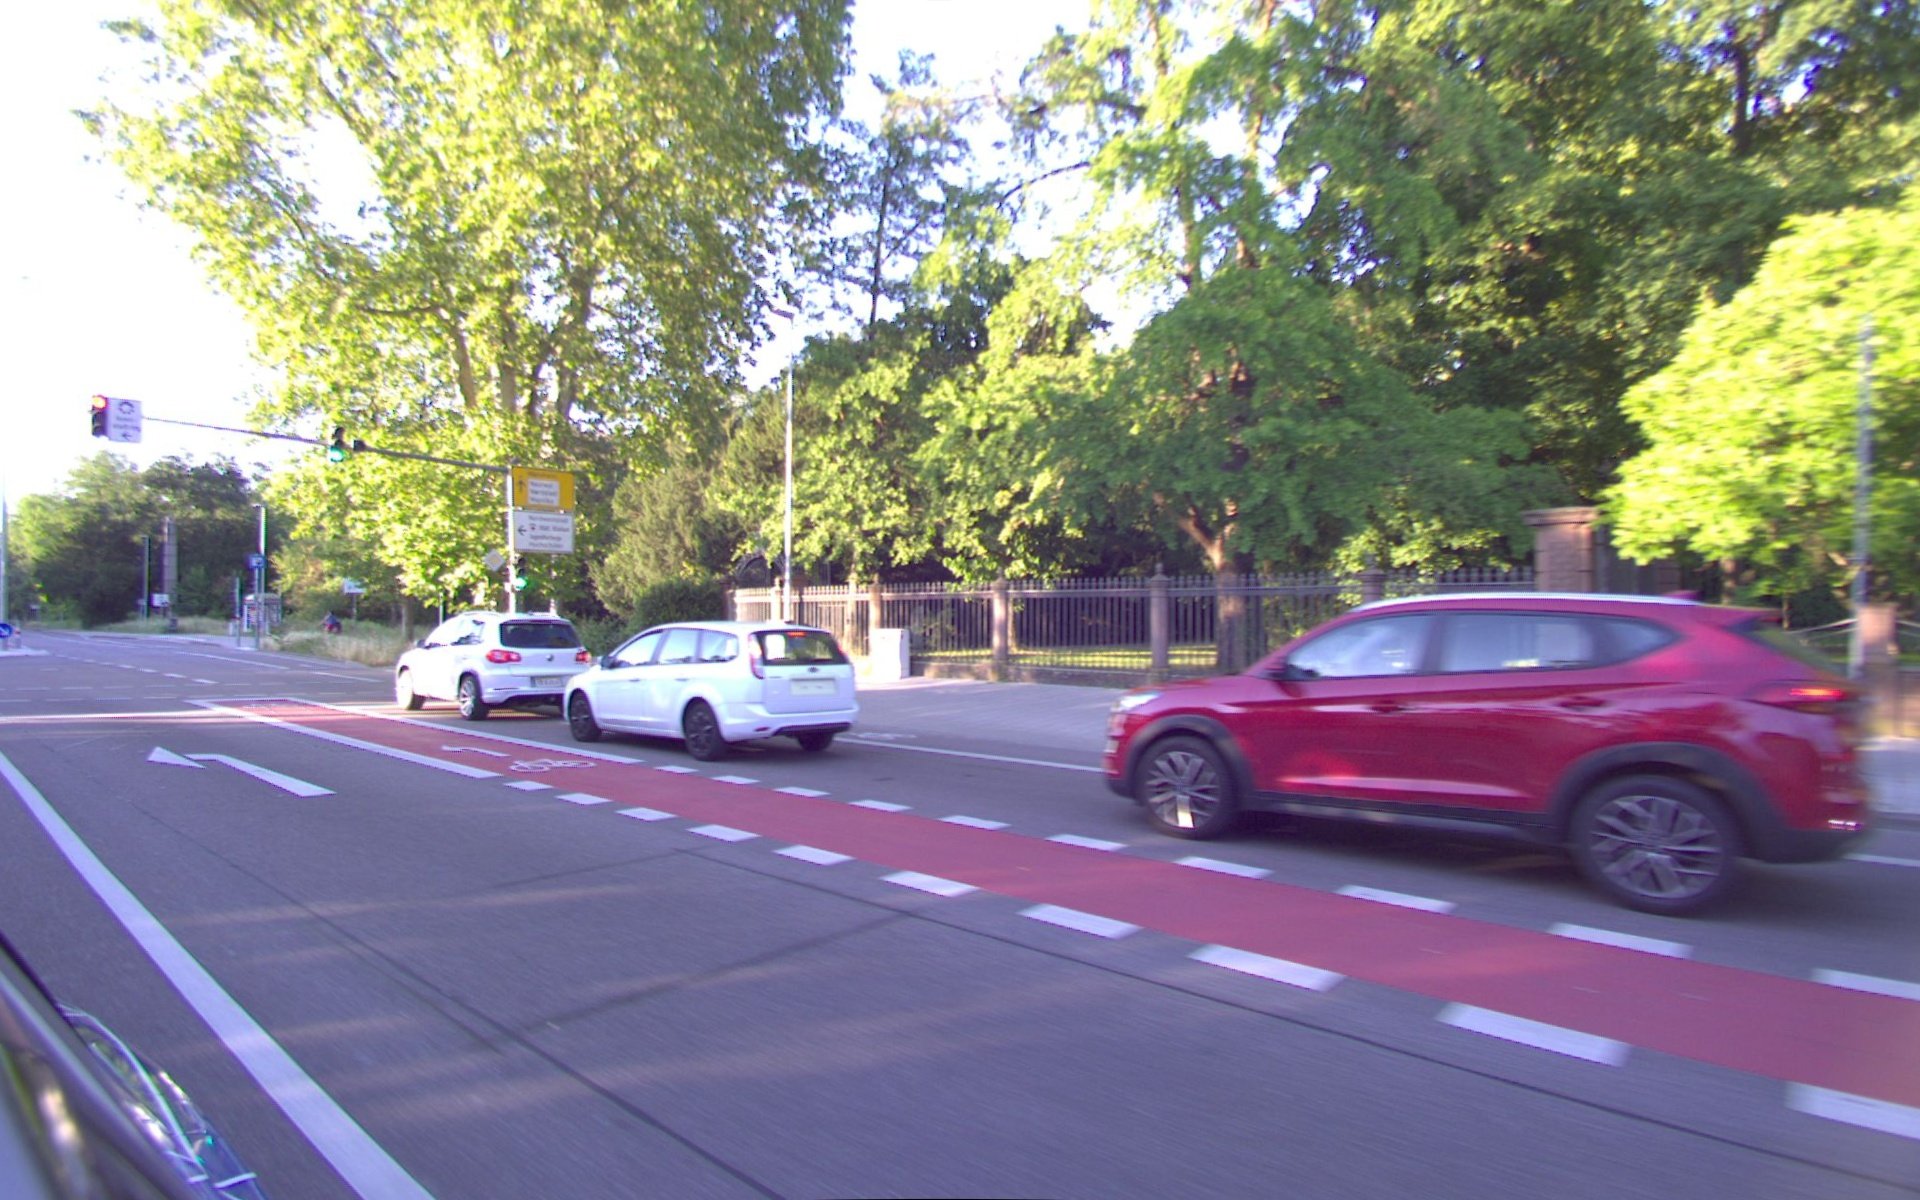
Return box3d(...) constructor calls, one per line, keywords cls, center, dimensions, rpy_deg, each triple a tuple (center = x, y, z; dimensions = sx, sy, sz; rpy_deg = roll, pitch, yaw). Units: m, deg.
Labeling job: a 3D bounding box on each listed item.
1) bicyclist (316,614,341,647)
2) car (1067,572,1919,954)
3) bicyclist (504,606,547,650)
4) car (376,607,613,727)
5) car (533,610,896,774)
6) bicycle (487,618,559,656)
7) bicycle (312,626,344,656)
box3d(cls="bicyclist", center=(-27.963, 1.363, 44.807), dimensions=(0.892, 1.438, 0.780), rpy_deg=(-1, -1, 45))
box3d(cls="car", center=(3.130, 0.769, 6.514), dimensions=(4.637, 1.637, 1.896), rpy_deg=(-1, -3, 42))
box3d(cls="bicyclist", center=(-15.712, 1.016, 36.613), dimensions=(0.933, 1.441, 0.855), rpy_deg=(9, 0, 9))
box3d(cls="car", center=(-7.751, 1.031, 16.667), dimensions=(4.425, 1.708, 1.896), rpy_deg=(-1, -3, 41))
box3d(cls="car", center=(-3.088, 0.965, 12.137), dimensions=(4.672, 1.595, 1.896), rpy_deg=(-1, -3, 42))
box3d(cls="bicycle", center=(-15.797, 1.328, 36.628), dimensions=(2.175, 1.022, 0.855), rpy_deg=(9, 0, 10))
box3d(cls="bicycle", center=(-27.975, 1.802, 44.817), dimensions=(0.780, 1.266, 1.981), rpy_deg=(1, -1, -45))
